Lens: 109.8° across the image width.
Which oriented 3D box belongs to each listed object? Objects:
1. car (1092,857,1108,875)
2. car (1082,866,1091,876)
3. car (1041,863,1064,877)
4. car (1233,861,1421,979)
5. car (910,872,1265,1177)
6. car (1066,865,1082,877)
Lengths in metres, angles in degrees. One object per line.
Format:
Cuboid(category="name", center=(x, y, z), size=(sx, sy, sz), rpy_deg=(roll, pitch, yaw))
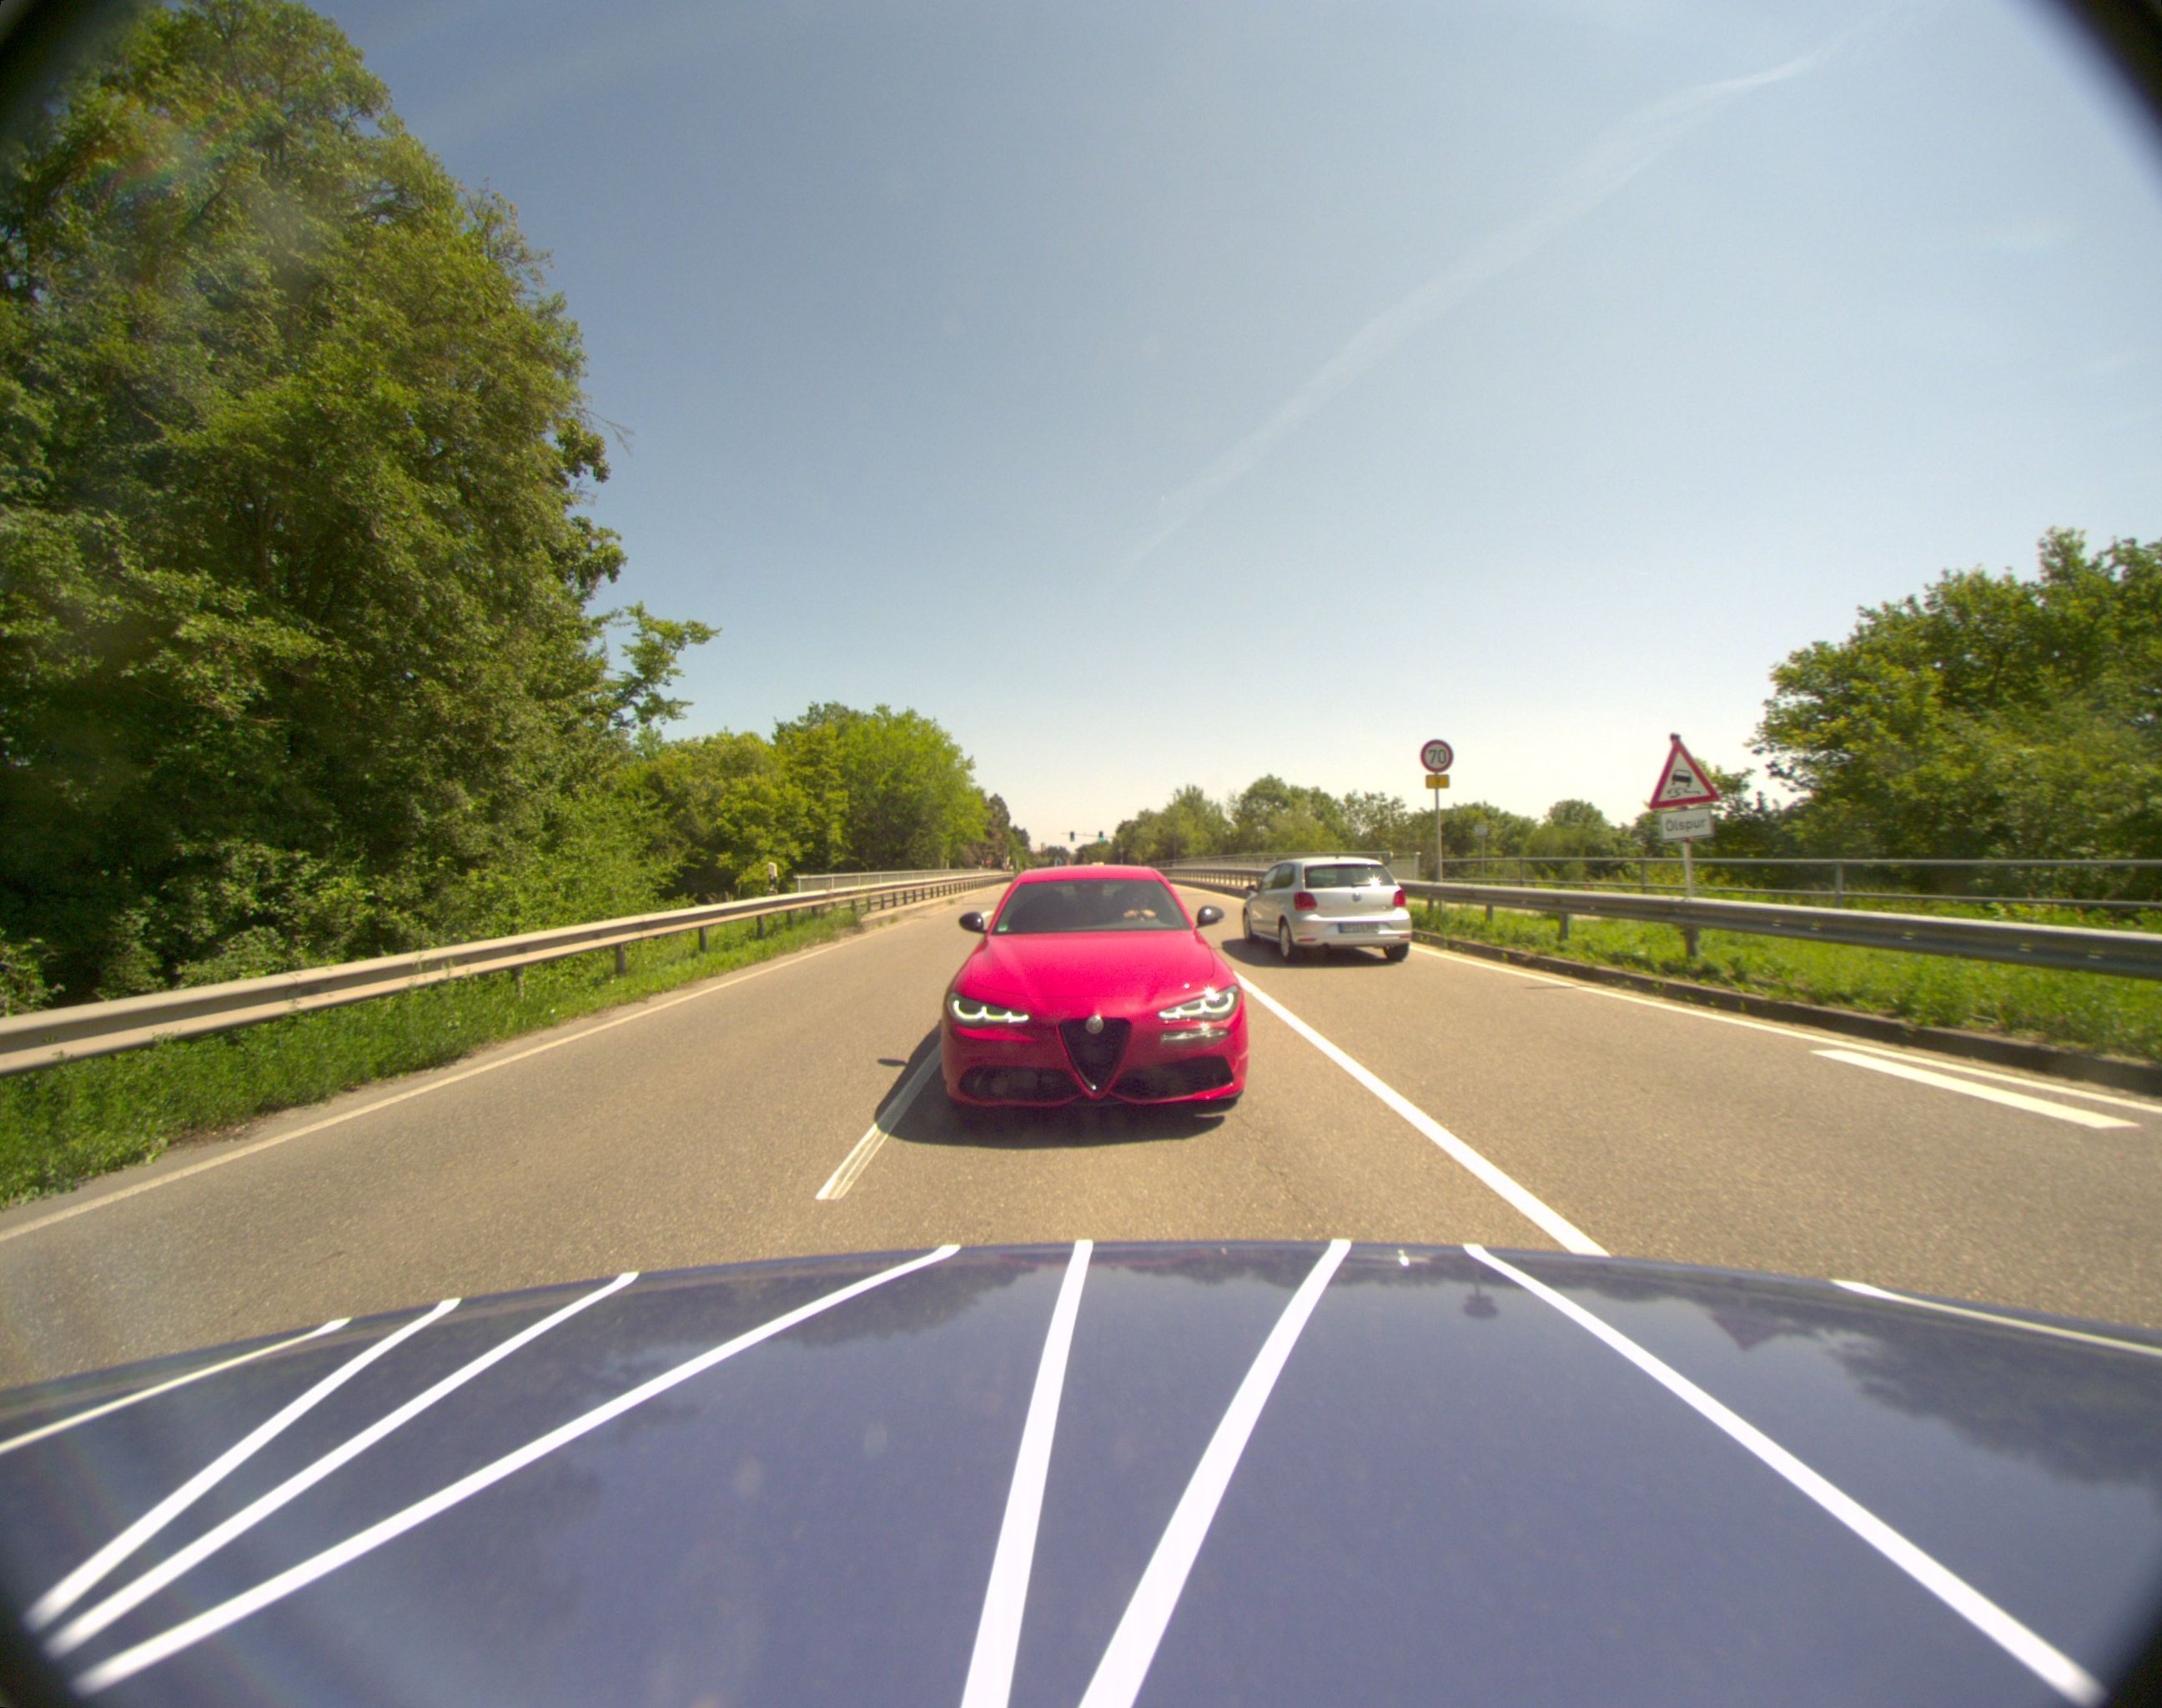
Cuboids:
Cuboid(category="car", center=(2.563, 1.598, 102.046), size=(1.995, 2.354, 5.181), rpy_deg=(-2, 0, 0))
Cuboid(category="car", center=(1.083, 3.316, 149.659), size=(1.848, 1.758, 4.000), rpy_deg=(-1, 0, 0))
Cuboid(category="car", center=(-4.149, 2.310, 109.905), size=(2.002, 2.002, 3.992), rpy_deg=(-1, 0, -24))
Cuboid(category="car", center=(3.513, 0.861, 11.570), size=(1.648, 1.410, 3.766), rpy_deg=(-2, 0, 0))
Cuboid(category="car", center=(0.039, 0.930, 6.060), size=(1.800, 1.448, 4.285), rpy_deg=(-1, 0, 0))
Cuboid(category="car", center=(-0.875, 2.170, 97.038), size=(1.800, 1.448, 3.706), rpy_deg=(-1, 0, 1))
